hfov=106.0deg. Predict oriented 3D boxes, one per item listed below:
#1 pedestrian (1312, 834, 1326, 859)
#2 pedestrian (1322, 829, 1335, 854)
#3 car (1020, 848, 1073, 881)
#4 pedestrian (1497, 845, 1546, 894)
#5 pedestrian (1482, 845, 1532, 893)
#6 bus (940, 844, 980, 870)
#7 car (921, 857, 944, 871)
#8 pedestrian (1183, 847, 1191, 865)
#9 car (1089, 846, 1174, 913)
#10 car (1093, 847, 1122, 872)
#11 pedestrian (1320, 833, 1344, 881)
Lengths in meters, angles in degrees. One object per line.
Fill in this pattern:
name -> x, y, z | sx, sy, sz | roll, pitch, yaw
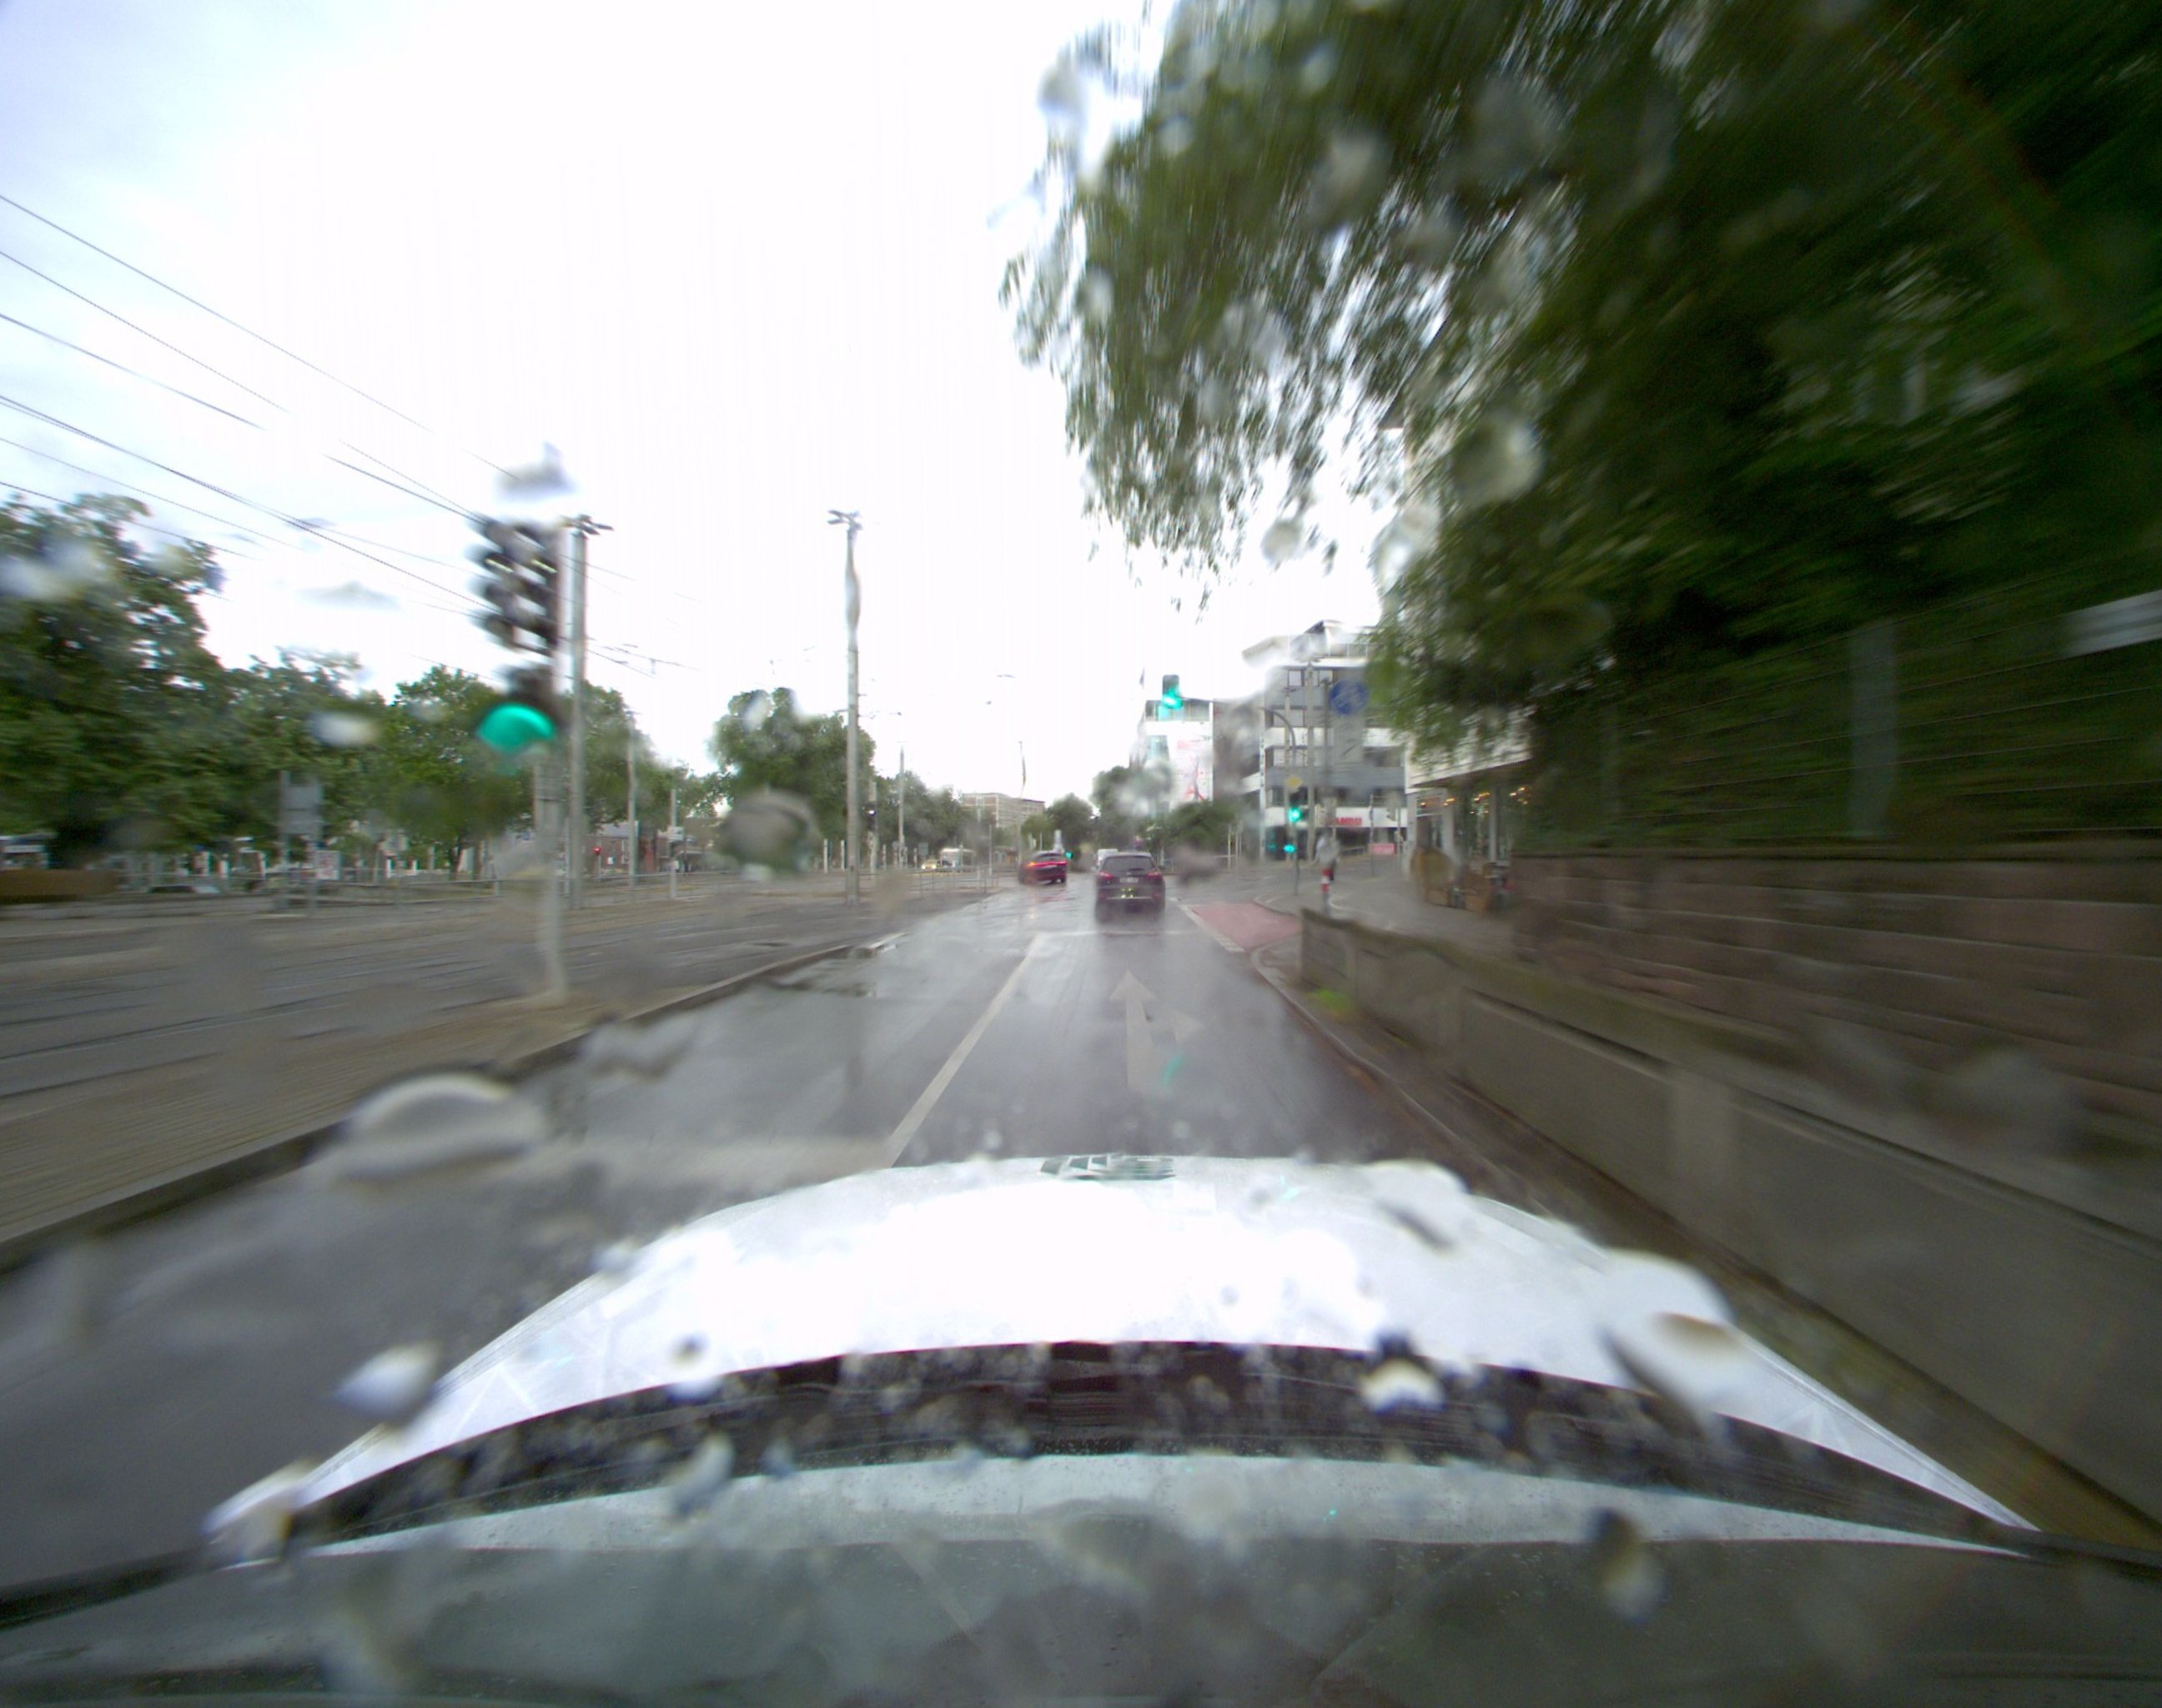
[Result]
pedestrian -> 18.199, -0.593, 62.306 | 0.710, 1.914, 0.702 | -2, 0, 40
pedestrian -> 19.038, -0.974, 62.727 | 0.710, 1.914, 0.702 | -2, 0, 40
car -> -1.790, 0.492, 40.127 | 2.098, 1.506, 4.717 | -2, 0, -9
pedestrian -> 11.100, 0.389, 20.541 | 0.912, 1.191, 0.569 | -2, 0, 2
pedestrian -> 11.104, 0.385, 21.244 | 0.926, 1.191, 0.636 | -2, 0, 2
bus -> -16.760, 0.373, 113.717 | 3.064, 3.300, 12.531 | -2, 0, 3
car -> -19.962, 1.329, 109.645 | 1.985, 1.645, 4.540 | -2, 0, 3
pedestrian -> 9.156, 0.187, 70.534 | 0.537, 1.563, 0.524 | -2, 0, 22
car -> 1.290, 0.588, 21.612 | 2.028, 1.584, 4.394 | 0, 0, 2
car -> 2.078, 0.386, 62.610 | 2.027, 1.839, 4.397 | 0, 0, 4
pedestrian -> 9.071, 0.098, 29.420 | 0.522, 1.712, 0.710 | -2, 0, 40
